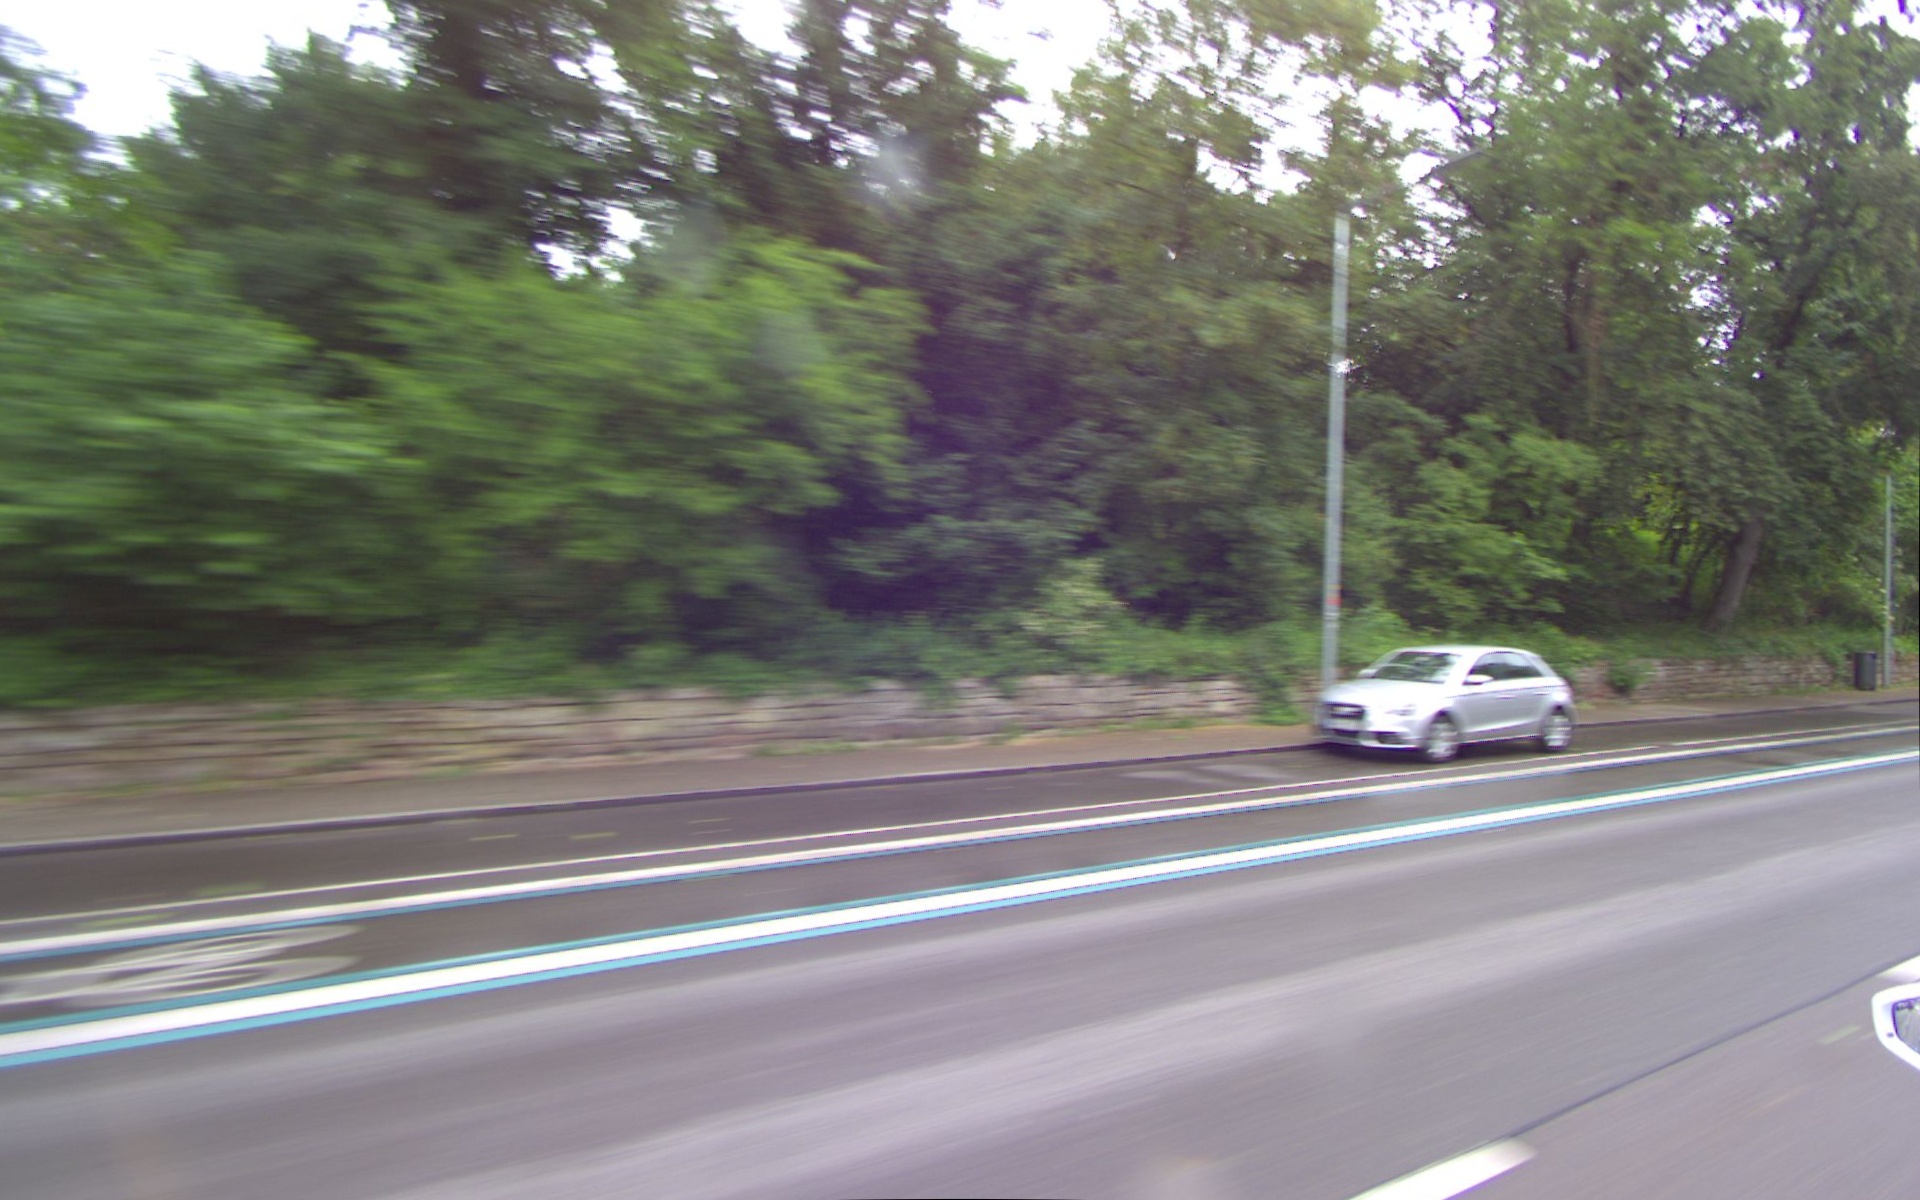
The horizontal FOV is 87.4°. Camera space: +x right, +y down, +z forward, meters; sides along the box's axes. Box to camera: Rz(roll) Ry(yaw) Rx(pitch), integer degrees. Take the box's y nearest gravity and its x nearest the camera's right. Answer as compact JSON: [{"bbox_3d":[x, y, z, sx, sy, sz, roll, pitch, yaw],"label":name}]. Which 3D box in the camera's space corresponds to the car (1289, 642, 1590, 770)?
[{"bbox_3d":[6.506,1.318,13.564,3.978,1.424,1.683,1,0,-29],"label":"car"}]
